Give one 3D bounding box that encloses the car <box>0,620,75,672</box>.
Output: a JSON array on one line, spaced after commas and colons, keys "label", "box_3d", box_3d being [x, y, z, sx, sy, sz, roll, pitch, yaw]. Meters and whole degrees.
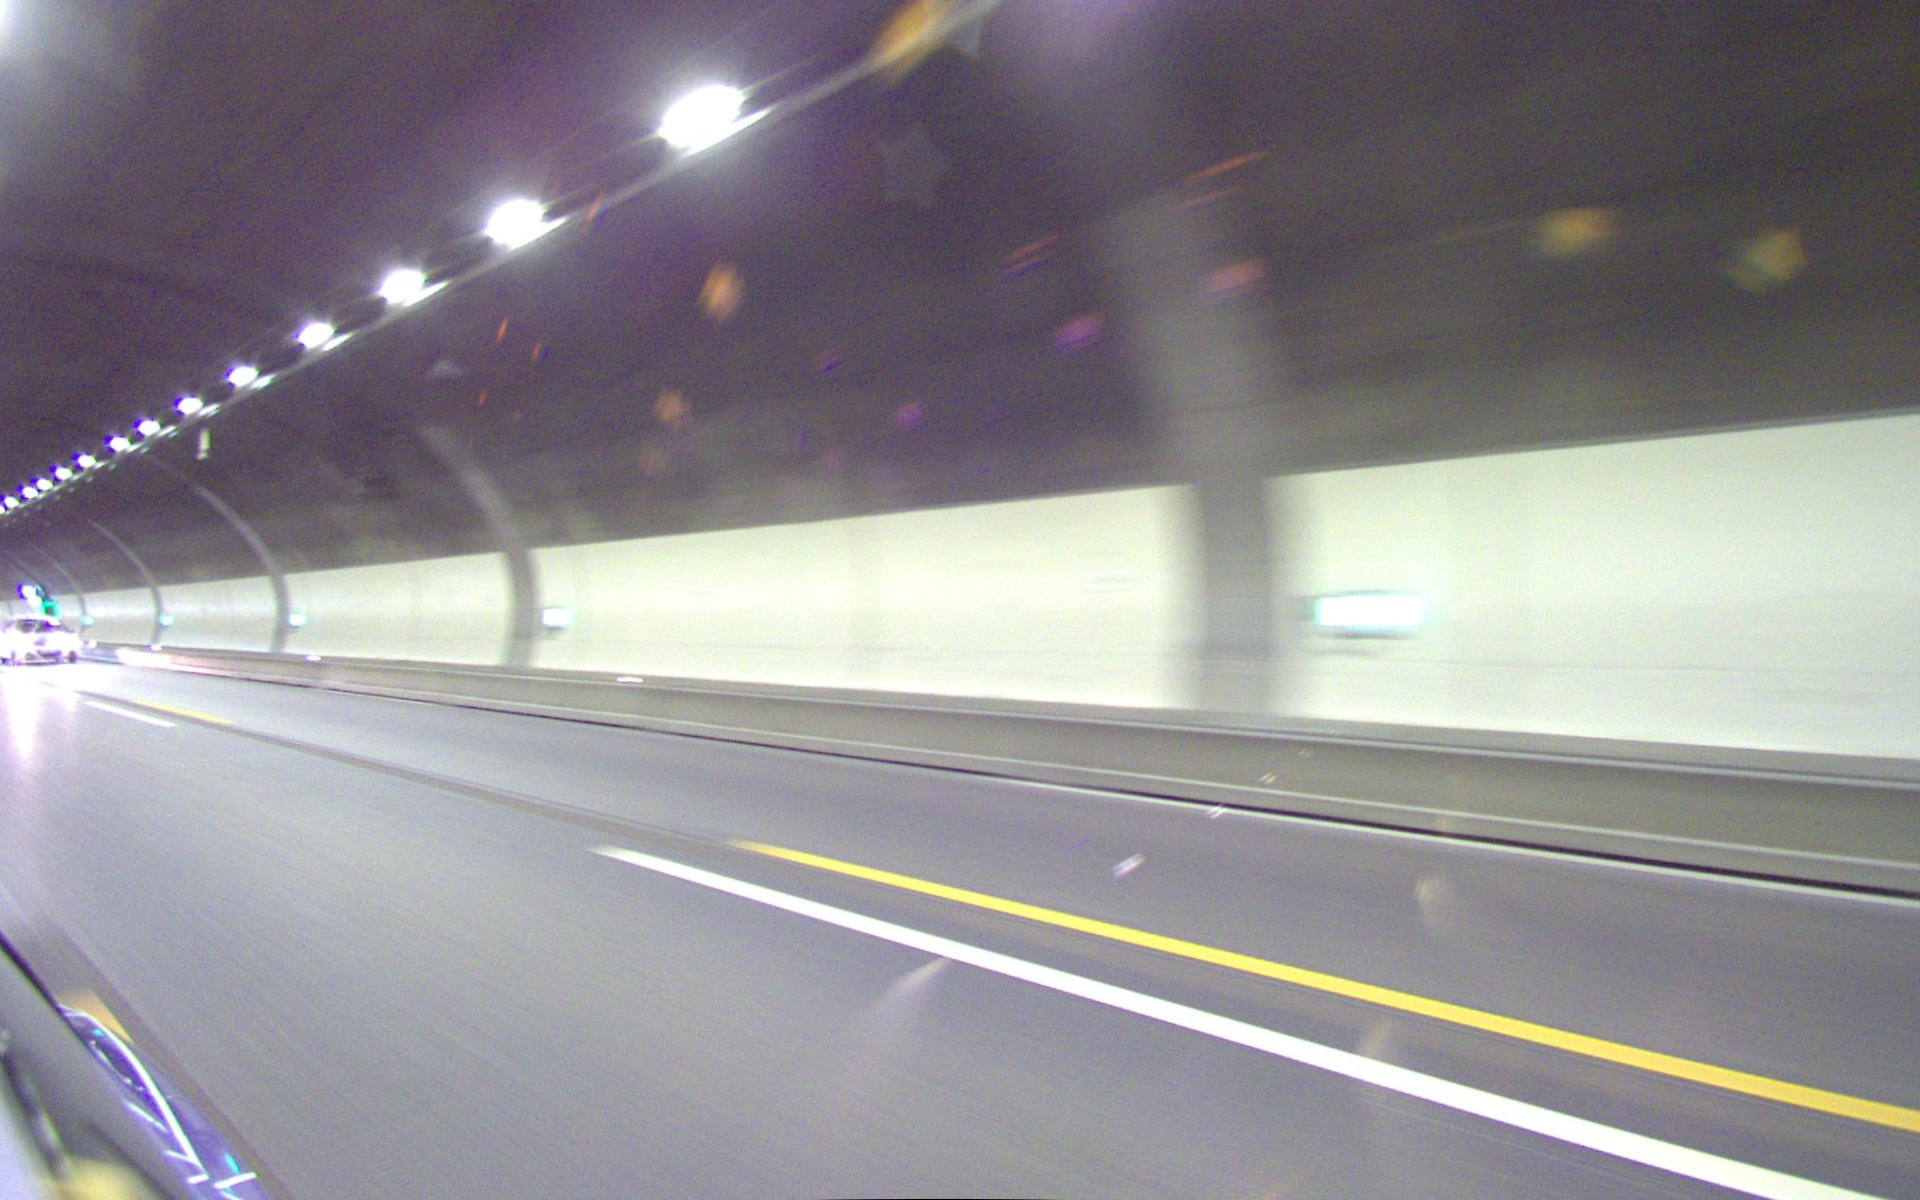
[{"label": "car", "box_3d": [-31.244, 1.485, 33.993, 4.095, 1.584, 1.744, -1, 0, 41]}]
